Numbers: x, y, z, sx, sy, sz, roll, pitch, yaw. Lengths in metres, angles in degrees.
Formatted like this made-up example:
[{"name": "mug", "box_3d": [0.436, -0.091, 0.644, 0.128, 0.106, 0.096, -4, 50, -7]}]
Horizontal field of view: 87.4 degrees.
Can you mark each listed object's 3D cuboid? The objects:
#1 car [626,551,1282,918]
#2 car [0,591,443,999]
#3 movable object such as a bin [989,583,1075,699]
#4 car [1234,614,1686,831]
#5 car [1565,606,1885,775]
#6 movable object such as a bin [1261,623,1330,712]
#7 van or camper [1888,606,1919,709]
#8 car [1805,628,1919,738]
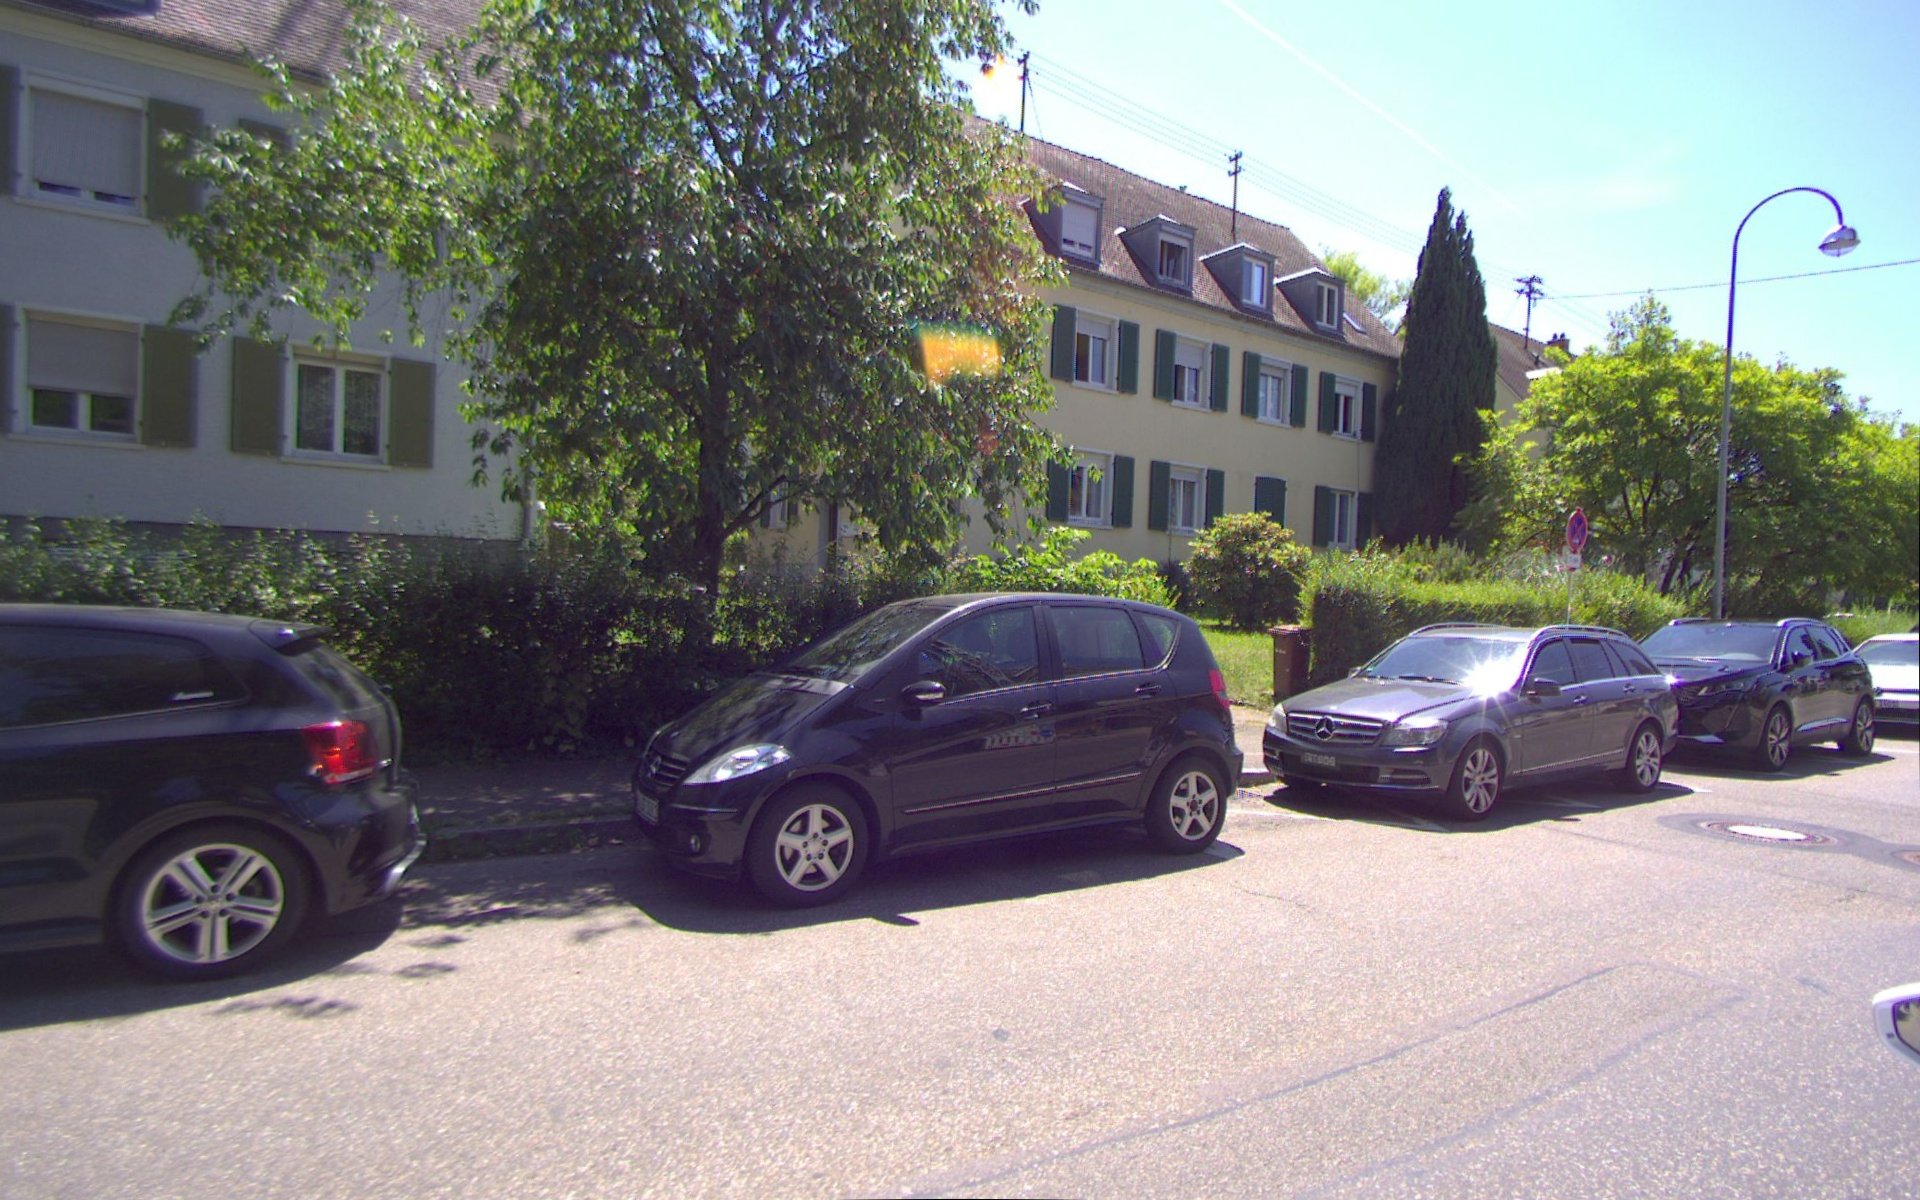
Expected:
[{"name": "car", "box_3d": [0.042, 0.663, 6.241, 3.746, 1.661, 1.673, 2, -1, -31]}, {"name": "car", "box_3d": [-4.178, 0.672, 3.992, 3.742, 1.419, 1.674, 2, -1, -28]}, {"name": "movable object such as a bin", "box_3d": [0.956, 0.530, 13.347, 0.908, 1.472, 0.653, 1, 0, -33]}, {"name": "car", "box_3d": [4.539, 0.919, 8.894, 4.285, 1.495, 1.671, 2, -1, -33]}, {"name": "car", "box_3d": [9.027, 0.948, 11.753, 4.285, 1.659, 1.671, 2, -1, -33]}, {"name": "movable object such as a bin", "box_3d": [4.512, 0.893, 13.511, 0.588, 1.136, 0.616, 1, 1, -29]}, {"name": "van or camper", "box_3d": [18.913, 1.065, 18.672, 3.946, 1.828, 1.670, 2, -1, -35]}, {"name": "car", "box_3d": [14.529, 1.195, 15.116, 4.202, 1.460, 1.671, 2, -1, -33]}]
